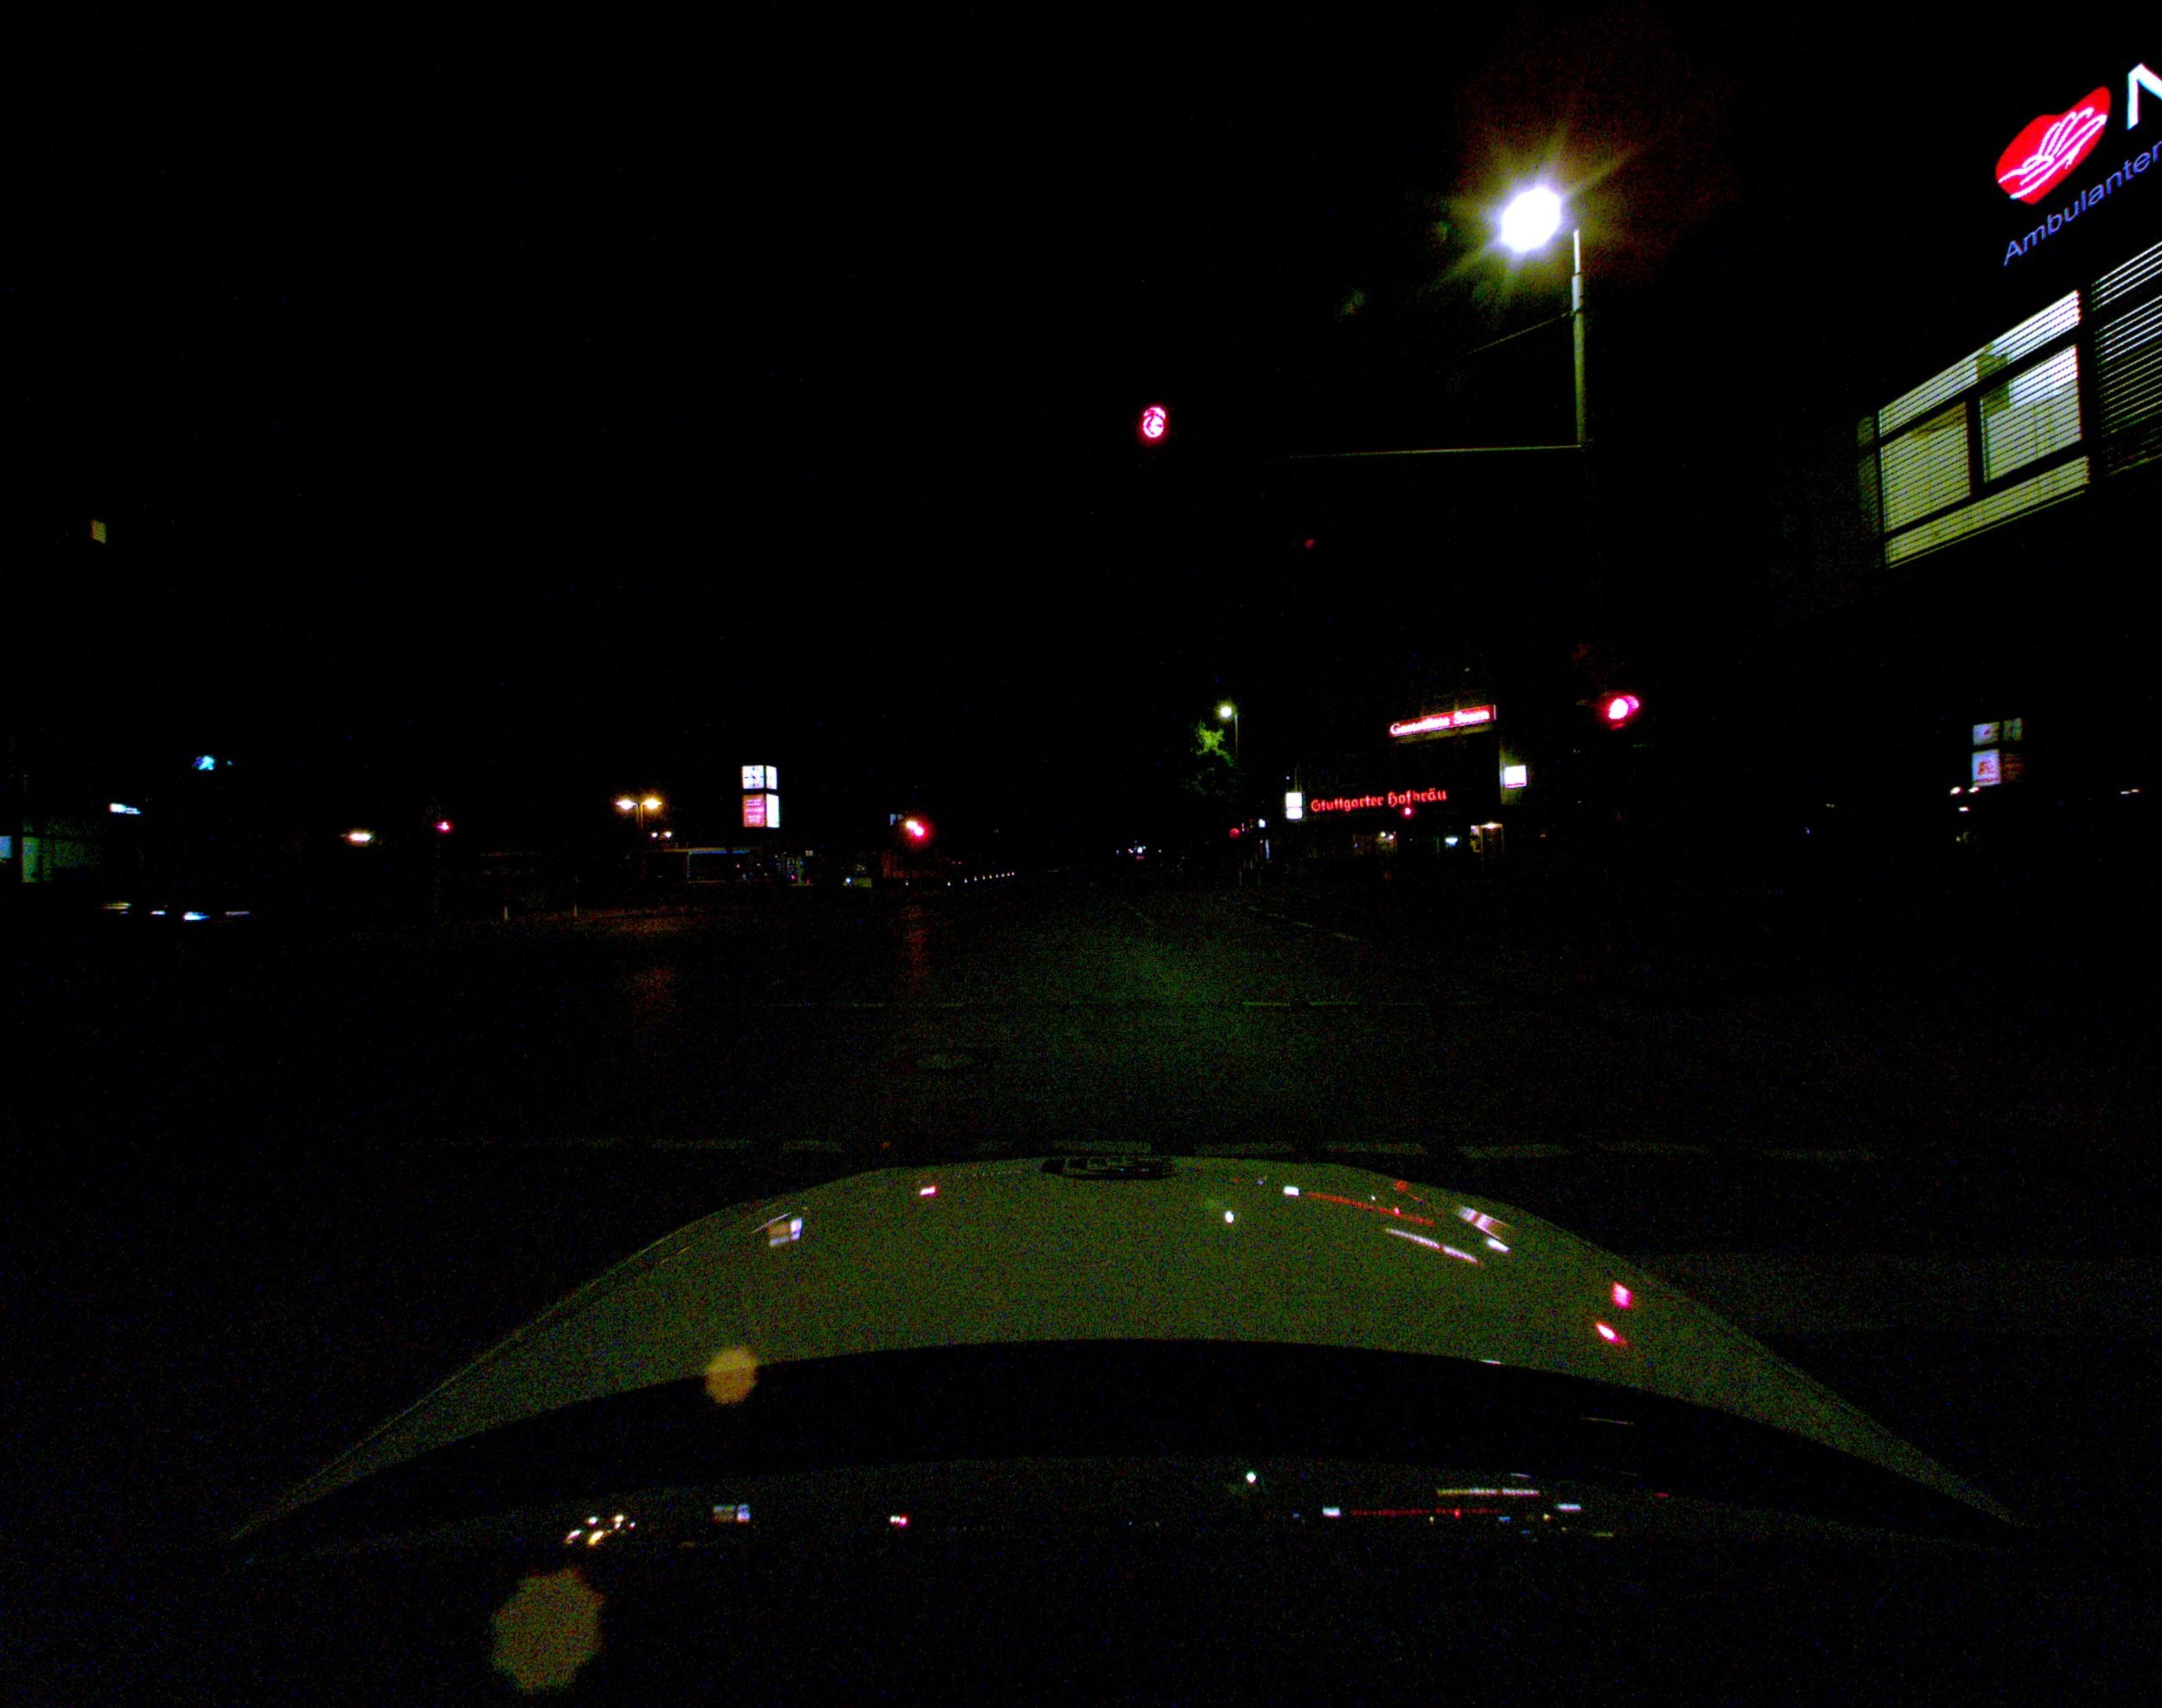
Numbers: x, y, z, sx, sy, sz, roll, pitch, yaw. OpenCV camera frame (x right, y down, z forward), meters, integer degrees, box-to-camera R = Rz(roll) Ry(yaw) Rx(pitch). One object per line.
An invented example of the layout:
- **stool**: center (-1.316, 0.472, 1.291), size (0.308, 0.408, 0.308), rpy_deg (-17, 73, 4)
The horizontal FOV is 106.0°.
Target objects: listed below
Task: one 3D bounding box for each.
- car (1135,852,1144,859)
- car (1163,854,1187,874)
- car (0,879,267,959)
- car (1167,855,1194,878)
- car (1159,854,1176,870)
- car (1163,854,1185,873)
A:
- **car**: center (13.806, 0.384, 192.016), size (2.218, 1.651, 4.004), rpy_deg (-1, 0, 3)
- **car**: center (7.883, 0.834, 68.766), size (1.868, 1.615, 4.005), rpy_deg (-2, -1, 5)
- **car**: center (-20.042, 1.287, 16.710), size (4.312, 1.454, 1.869), rpy_deg (0, -1, -17)
- **car**: center (7.728, 0.959, 63.527), size (1.868, 1.615, 4.005), rpy_deg (-2, -1, 5)
- **car**: center (10.042, 0.932, 94.471), size (1.868, 1.683, 4.005), rpy_deg (-2, -1, 5)
- **car**: center (8.678, 0.880, 76.423), size (1.868, 1.729, 4.005), rpy_deg (-2, -1, 5)
